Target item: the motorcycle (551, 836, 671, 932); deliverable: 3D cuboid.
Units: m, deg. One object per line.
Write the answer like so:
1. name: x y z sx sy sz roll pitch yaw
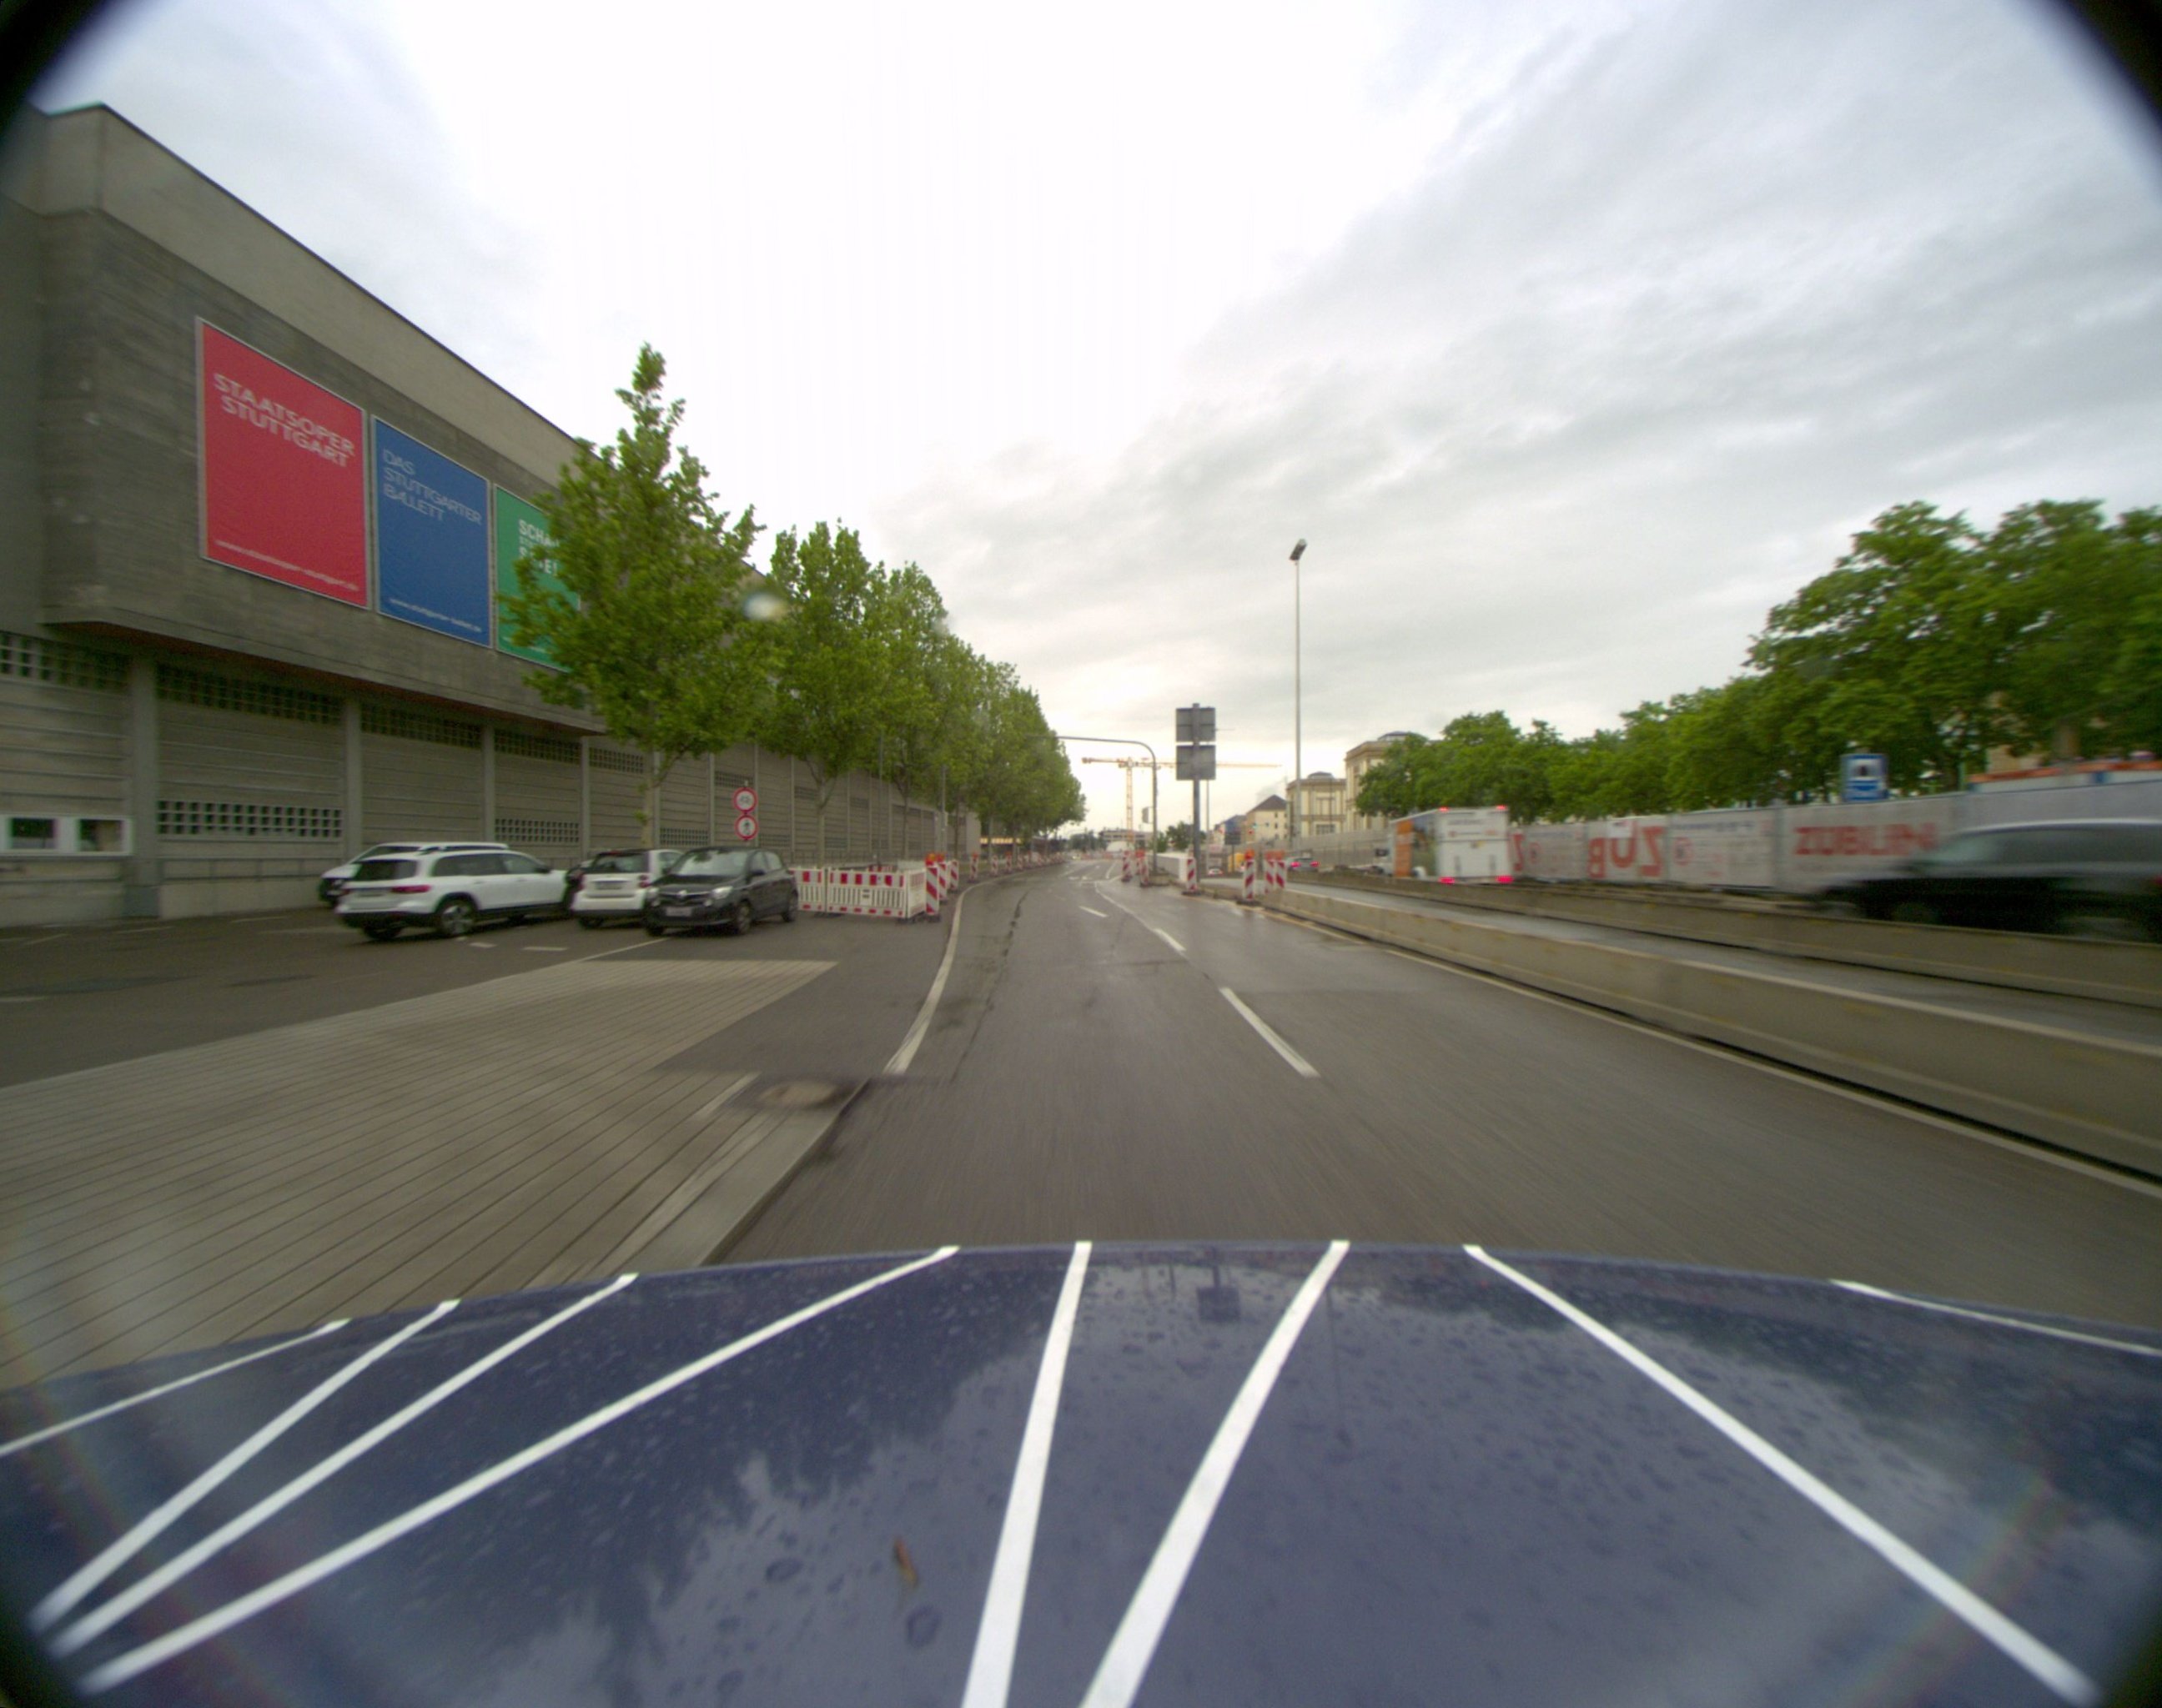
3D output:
1. motorcycle: -10.218 0.595 16.675 0.750 1.893 2.590 -4 1 4

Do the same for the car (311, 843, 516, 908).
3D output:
1. car: -20.042 0.548 23.185 1.777 1.777 4.884 0 1 2

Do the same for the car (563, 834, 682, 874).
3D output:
1. car: -18.803 -0.009 31.248 3.846 1.570 1.779 0 1 4

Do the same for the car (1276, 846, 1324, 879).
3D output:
1. car: 14.385 0.491 50.267 1.912 2.002 4.758 1 1 2

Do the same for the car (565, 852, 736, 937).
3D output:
1. car: -8.811 0.762 15.831 1.584 1.528 3.022 0 1 7

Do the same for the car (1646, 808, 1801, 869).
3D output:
1. car: 23.295 -0.480 27.858 1.998 2.001 4.720 -1 -1 6

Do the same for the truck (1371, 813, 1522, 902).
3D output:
1. truck: 12.602 0.118 26.988 2.403 2.703 7.357 -1 0 5

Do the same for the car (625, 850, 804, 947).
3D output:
1. car: -6.650 0.724 14.249 1.691 1.486 3.619 -1 1 -3

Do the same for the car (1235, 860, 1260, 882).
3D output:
1. car: 15.440 1.558 70.515 1.704 1.857 3.357 0 1 2

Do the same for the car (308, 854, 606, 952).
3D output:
1. car: -12.461 0.883 15.660 1.958 1.674 4.495 -2 0 10

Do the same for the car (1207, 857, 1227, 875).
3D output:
1. car: 16.682 1.443 93.194 1.902 2.002 4.000 0 1 3

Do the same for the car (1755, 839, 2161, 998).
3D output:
1. car: 11.249 0.608 9.141 1.926 1.521 4.759 -1 0 -3
